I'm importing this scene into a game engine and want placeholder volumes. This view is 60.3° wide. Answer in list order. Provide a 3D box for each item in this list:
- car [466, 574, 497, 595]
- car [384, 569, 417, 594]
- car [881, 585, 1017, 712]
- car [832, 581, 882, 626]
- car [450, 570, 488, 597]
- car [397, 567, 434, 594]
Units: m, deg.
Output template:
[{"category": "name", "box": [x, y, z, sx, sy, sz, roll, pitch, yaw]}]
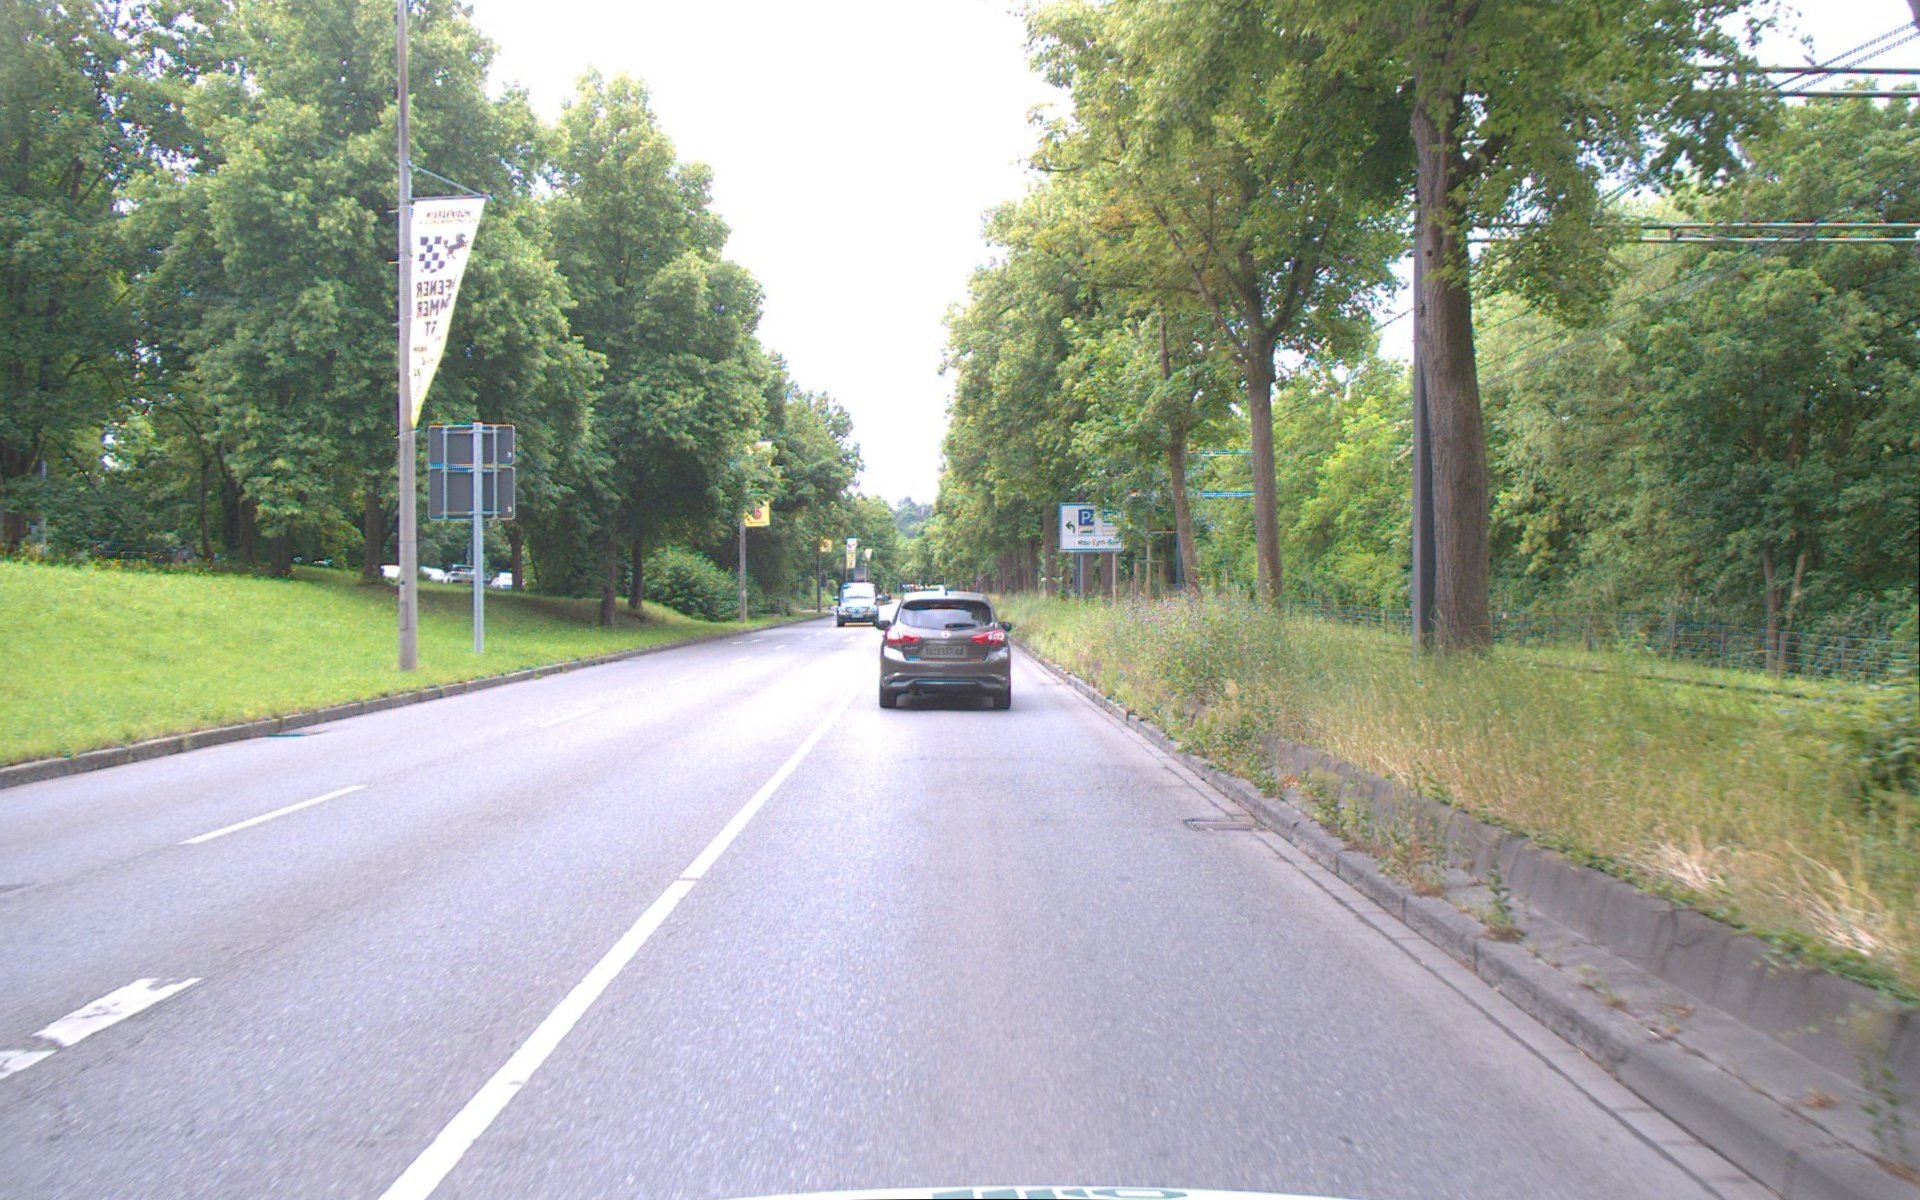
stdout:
[{"category": "car", "box": [-35.508, -1.115, 122.653, 1.624, 1.512, 3.970, 1, 0, -24]}, {"category": "car", "box": [-35.639, -1.149, 105.354, 1.624, 1.512, 3.970, 1, 0, -24]}, {"category": "car", "box": [-0.180, 0.616, 22.675, 1.695, 1.564, 3.551, 1, 0, -1]}, {"category": "car", "box": [-4.706, 0.163, 75.921, 1.953, 1.990, 5.183, -1, 0, 0]}, {"category": "car", "box": [-28.702, -0.951, 96.613, 1.624, 1.512, 3.970, 1, 0, -24]}, {"category": "car", "box": [-31.624, -1.095, 96.001, 1.624, 1.512, 3.970, 1, 0, -24]}]
